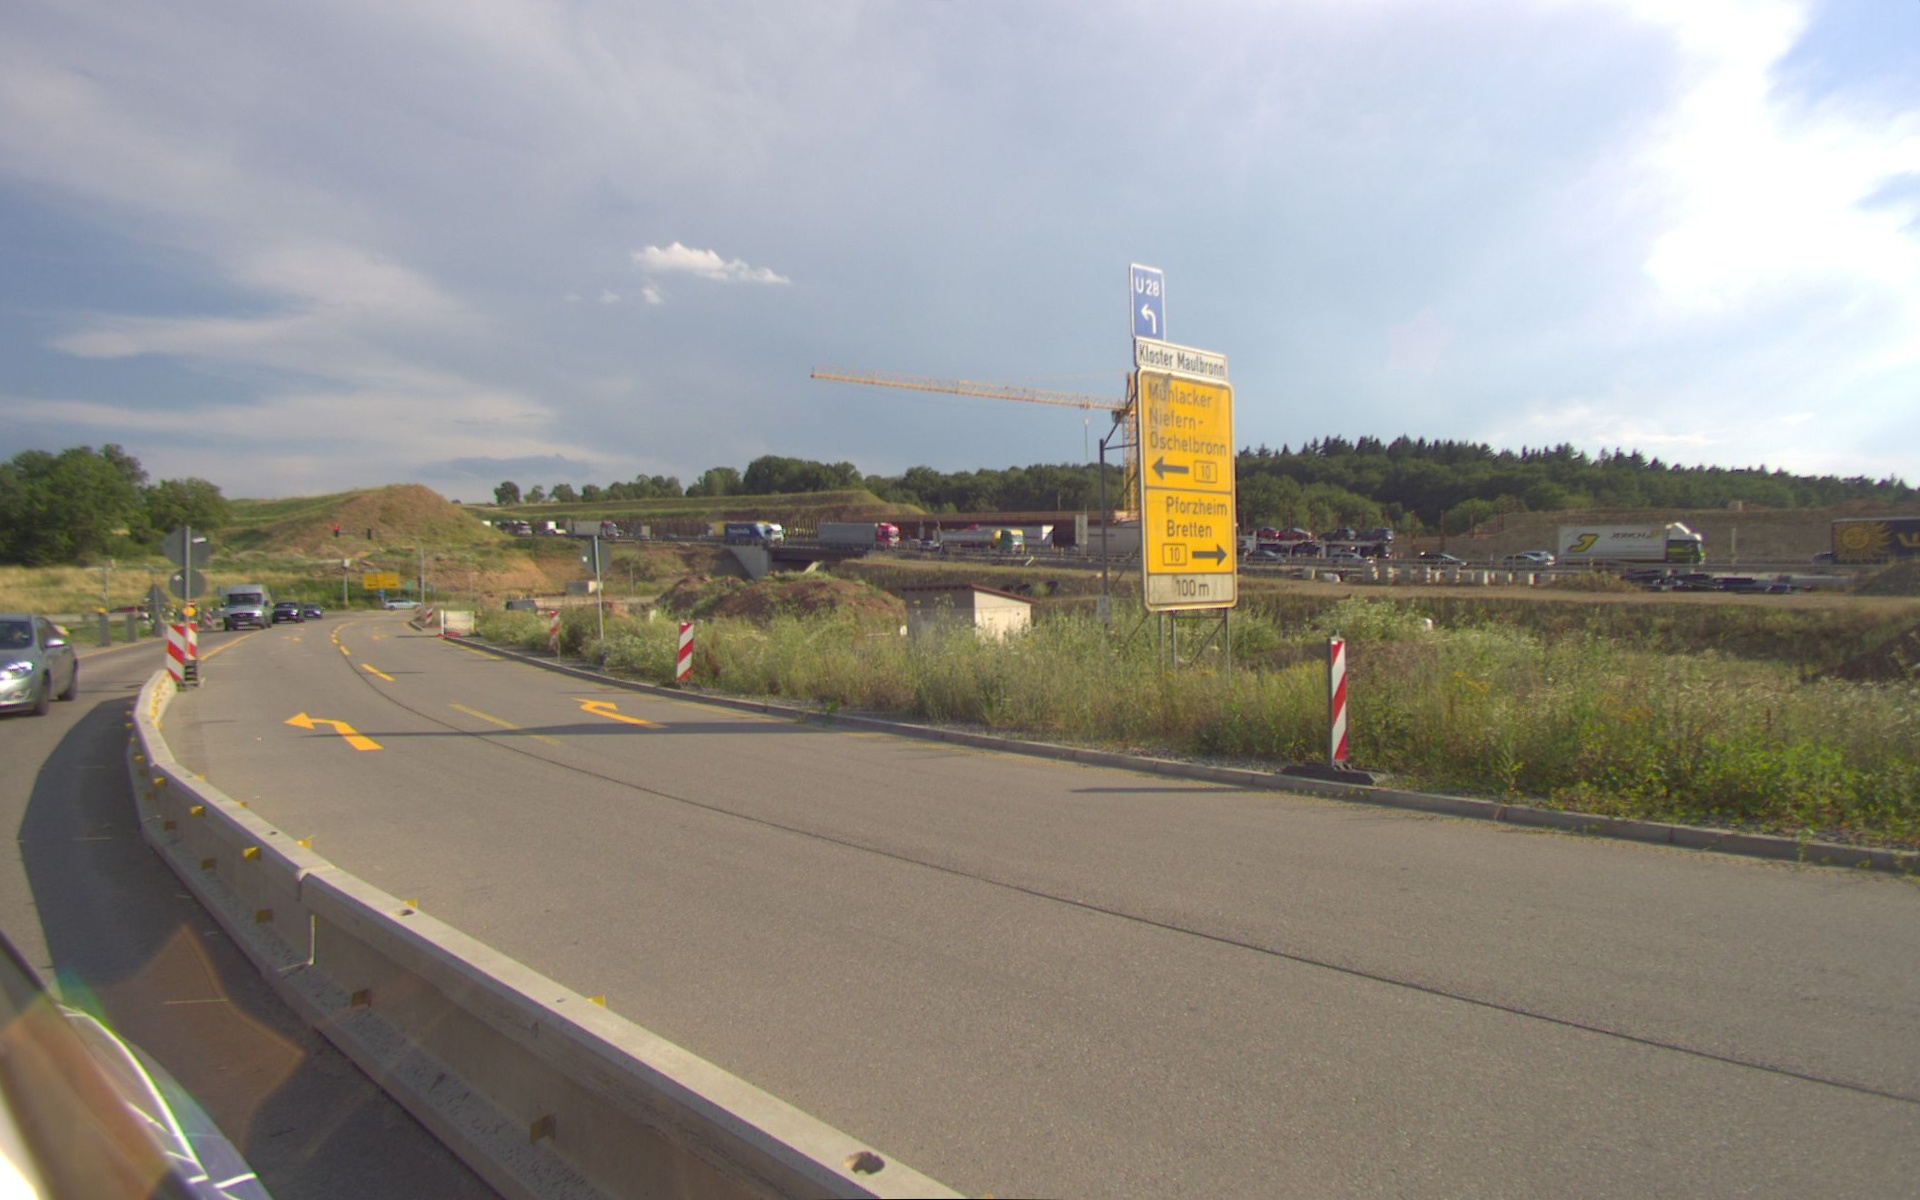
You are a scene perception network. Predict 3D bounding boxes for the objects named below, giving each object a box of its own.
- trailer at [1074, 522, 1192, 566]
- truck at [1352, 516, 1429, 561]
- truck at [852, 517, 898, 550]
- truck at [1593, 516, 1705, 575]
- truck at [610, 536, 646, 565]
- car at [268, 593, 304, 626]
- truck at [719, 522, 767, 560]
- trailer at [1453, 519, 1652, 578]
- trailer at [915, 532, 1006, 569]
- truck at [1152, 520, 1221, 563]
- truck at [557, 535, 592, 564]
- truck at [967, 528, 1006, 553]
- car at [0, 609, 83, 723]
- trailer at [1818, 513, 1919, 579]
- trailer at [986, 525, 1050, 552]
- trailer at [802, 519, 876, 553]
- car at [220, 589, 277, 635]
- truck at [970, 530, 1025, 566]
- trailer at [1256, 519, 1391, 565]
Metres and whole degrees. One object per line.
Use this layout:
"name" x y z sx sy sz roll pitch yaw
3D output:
"trailer" 19.659 -6.275 116.191 3.068 4.346 14.260 -1 0 -45
"truck" 45.858 -6.470 108.018 6.898 4.346 3.069 -1 0 44
"truck" -12.585 -9.795 149.498 3.068 4.346 6.901 -1 0 -45
"truck" 54.858 -4.235 80.651 3.068 4.346 6.901 -1 0 -45
"truck" -75.113 -11.146 228.823 3.128 5.915 10.682 -1 0 -45
"car" -51.514 0.730 77.412 1.844 2.421 4.013 -1 0 -27
"truck" -37.440 -10.104 174.513 3.128 5.915 10.152 -1 0 -45
"trailer" 49.840 -4.173 85.782 3.068 4.346 14.260 -1 0 -45
"trailer" -0.093 -6.625 136.921 3.068 4.346 14.260 -1 0 -45
"truck" 24.796 -6.346 111.006 3.068 4.346 6.901 -1 0 -45
"truck" -84.371 -11.002 221.209 3.128 5.915 10.682 -1 0 -45
"truck" 4.061 -9.223 158.548 1.948 3.540 6.598 -1 0 -45
"car" -14.331 0.904 14.752 1.719 1.495 4.263 -1 0 -33
"trailer" 67.251 -3.767 68.168 3.068 4.346 14.260 -1 0 -45
"trailer" 8.706 -9.315 153.790 1.943 3.540 11.182 -1 0 -44
"trailer" -18.738 -9.775 155.729 3.068 4.346 14.260 -1 0 -45
"car" -41.538 0.658 59.186 1.884 2.520 5.816 -1 0 -27
"truck" 4.902 -6.669 131.902 3.068 4.346 6.901 -1 0 -45
"trailer" 40.456 -6.354 113.264 14.256 4.346 3.069 -1 0 44
